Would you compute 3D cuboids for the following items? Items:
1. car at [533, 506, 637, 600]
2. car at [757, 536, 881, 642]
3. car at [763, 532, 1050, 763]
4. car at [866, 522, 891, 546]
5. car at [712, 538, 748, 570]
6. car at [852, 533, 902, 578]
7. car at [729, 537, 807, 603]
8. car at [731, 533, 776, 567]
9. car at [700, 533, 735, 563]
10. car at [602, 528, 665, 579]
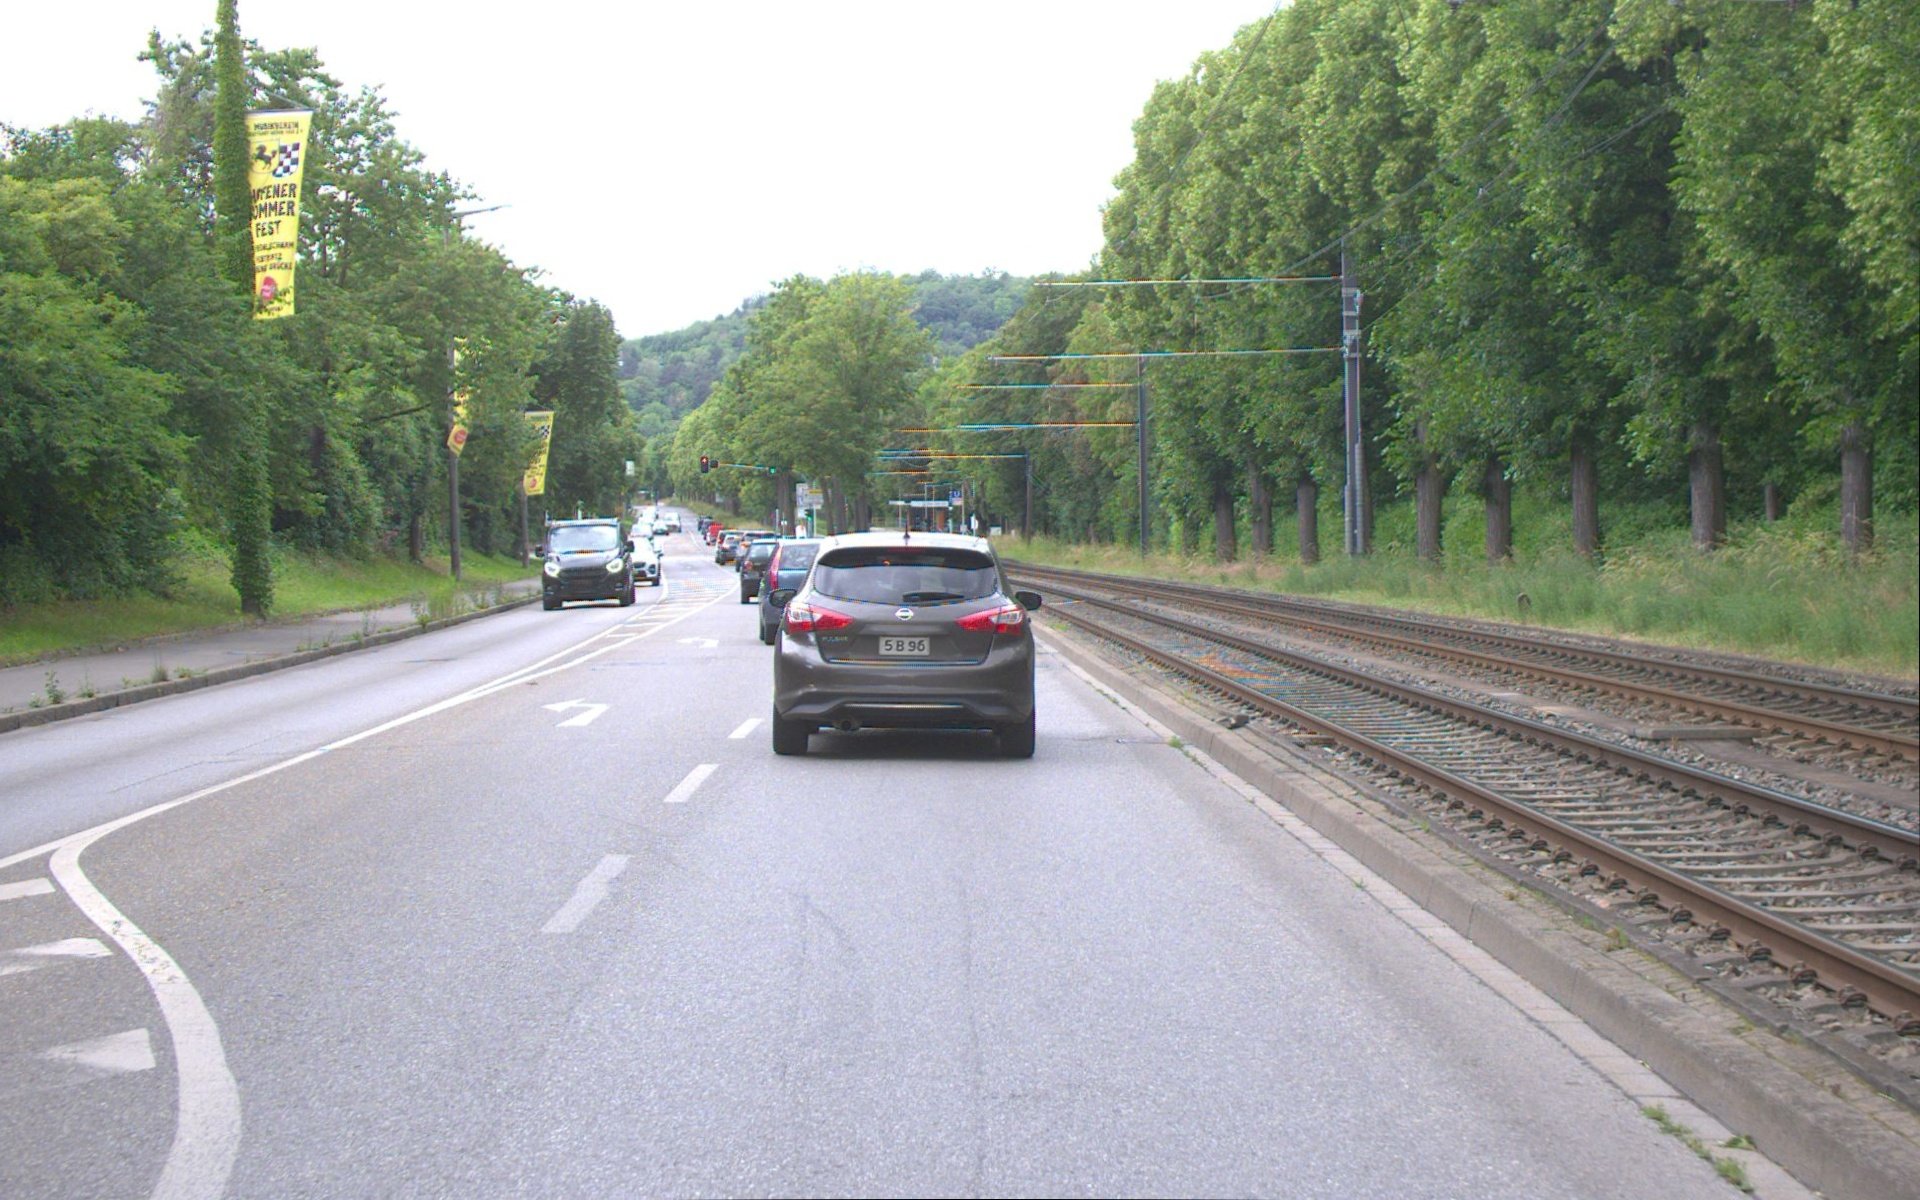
[{"bbox_3d":[-8.684,-1.100,80.026,1.993,2.029,5.116,-2,1,-2],"label":"car"},{"bbox_3d":[-1.976,-0.183,49.013,1.699,1.438,4.000,0,1,-1],"label":"car"},{"bbox_3d":[-0.360,0.271,24.320,1.850,1.488,4.000,0,1,0],"label":"car"},{"bbox_3d":[-5.982,-4.835,251.777,1.715,1.657,3.708,0,0,-4],"label":"car"},{"bbox_3d":[-12.366,-2.479,185.317,1.700,1.708,4.000,0,1,0],"label":"car"},{"bbox_3d":[-2.944,-1.559,121.013,1.715,1.545,4.000,0,0,-2],"label":"car"},{"bbox_3d":[-4.320,-0.698,77.662,1.699,1.438,4.001,0,1,-3],"label":"car"},{"bbox_3d":[-9.245,-2.232,154.151,1.794,1.505,4.000,0,1,0],"label":"car"},{"bbox_3d":[-13.735,-2.961,194.919,1.700,1.708,4.000,0,1,0],"label":"car"},{"bbox_3d":[-10.925,-1.560,115.289,1.841,1.615,4.160,-2,1,-2],"label":"car"}]
